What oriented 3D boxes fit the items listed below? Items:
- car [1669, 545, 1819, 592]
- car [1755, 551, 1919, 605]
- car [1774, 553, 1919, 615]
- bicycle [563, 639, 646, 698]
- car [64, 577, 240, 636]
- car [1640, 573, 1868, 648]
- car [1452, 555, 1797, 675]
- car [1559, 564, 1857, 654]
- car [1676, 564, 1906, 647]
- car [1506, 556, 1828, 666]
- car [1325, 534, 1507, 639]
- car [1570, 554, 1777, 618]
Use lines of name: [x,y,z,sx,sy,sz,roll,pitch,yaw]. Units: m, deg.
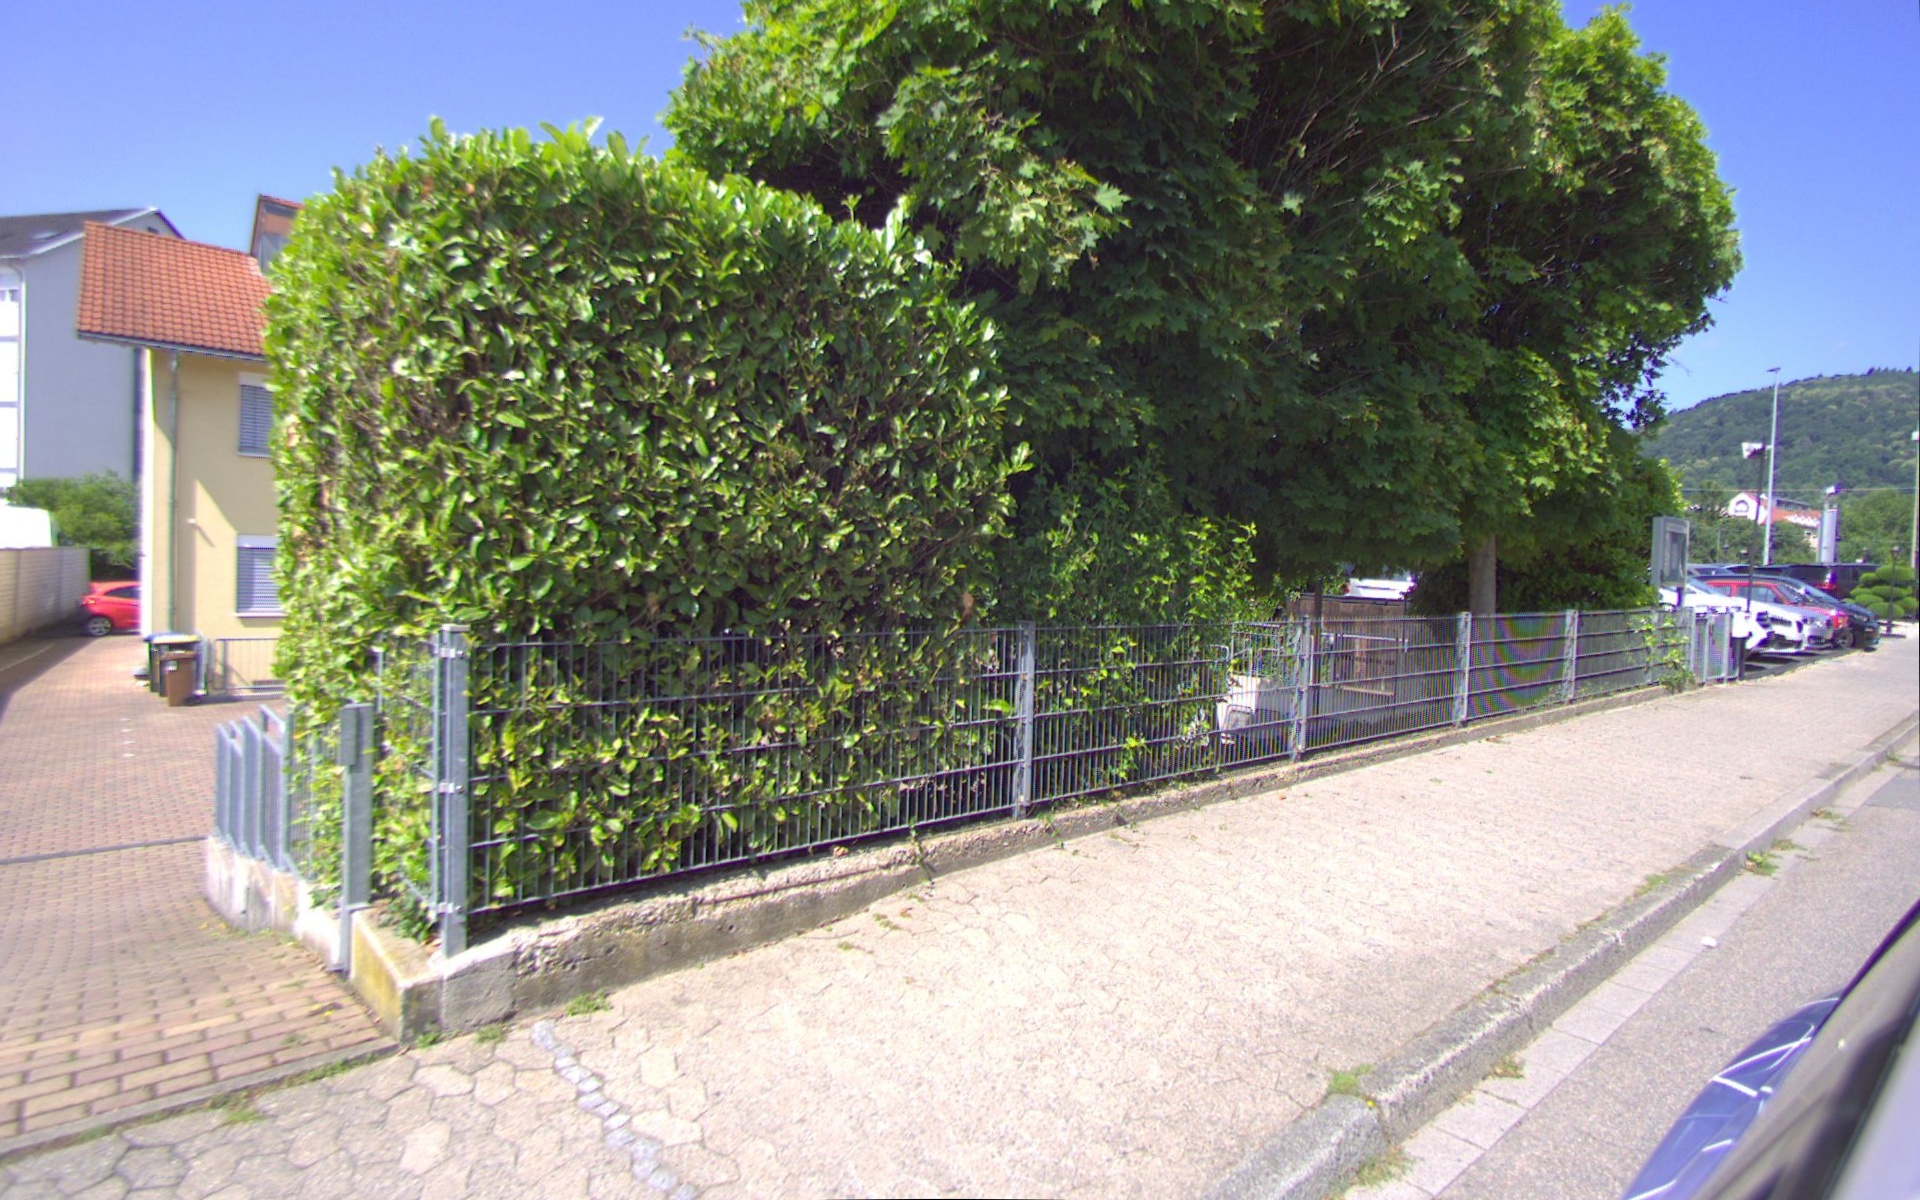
car: [29.927,-1.214,38.659,4.716,1.713,2.022,0,3,-14]
car: [30.903,-0.792,35.384,4.720,1.801,2.020,0,2,-6]
car: [27.784,-0.517,31.022,4.205,1.803,1.856,0,3,-5]
bicycle: [-7.189,1.371,20.551,0.610,1.005,1.803,2,2,18]
car: [-23.528,0.152,29.622,3.927,1.595,1.933,-1,1,-38]
car: [16.682,0.159,21.381,1.532,1.351,3.555,-2,4,-42]
car: [10.745,0.127,16.628,1.813,1.673,4.409,-1,3,-43]
car: [14.552,0.076,19.905,1.864,1.515,4.411,-1,3,-41]
car: [18.815,0.053,23.035,1.730,1.643,3.809,-2,4,-42]
car: [12.578,0.085,18.243,1.866,1.545,4.410,-2,6,-43]
car: [9.170,-0.327,20.244,3.724,1.882,1.997,-3,3,-42]
car: [21.599,-0.506,30.940,1.885,1.784,5.010,0,3,-17]
